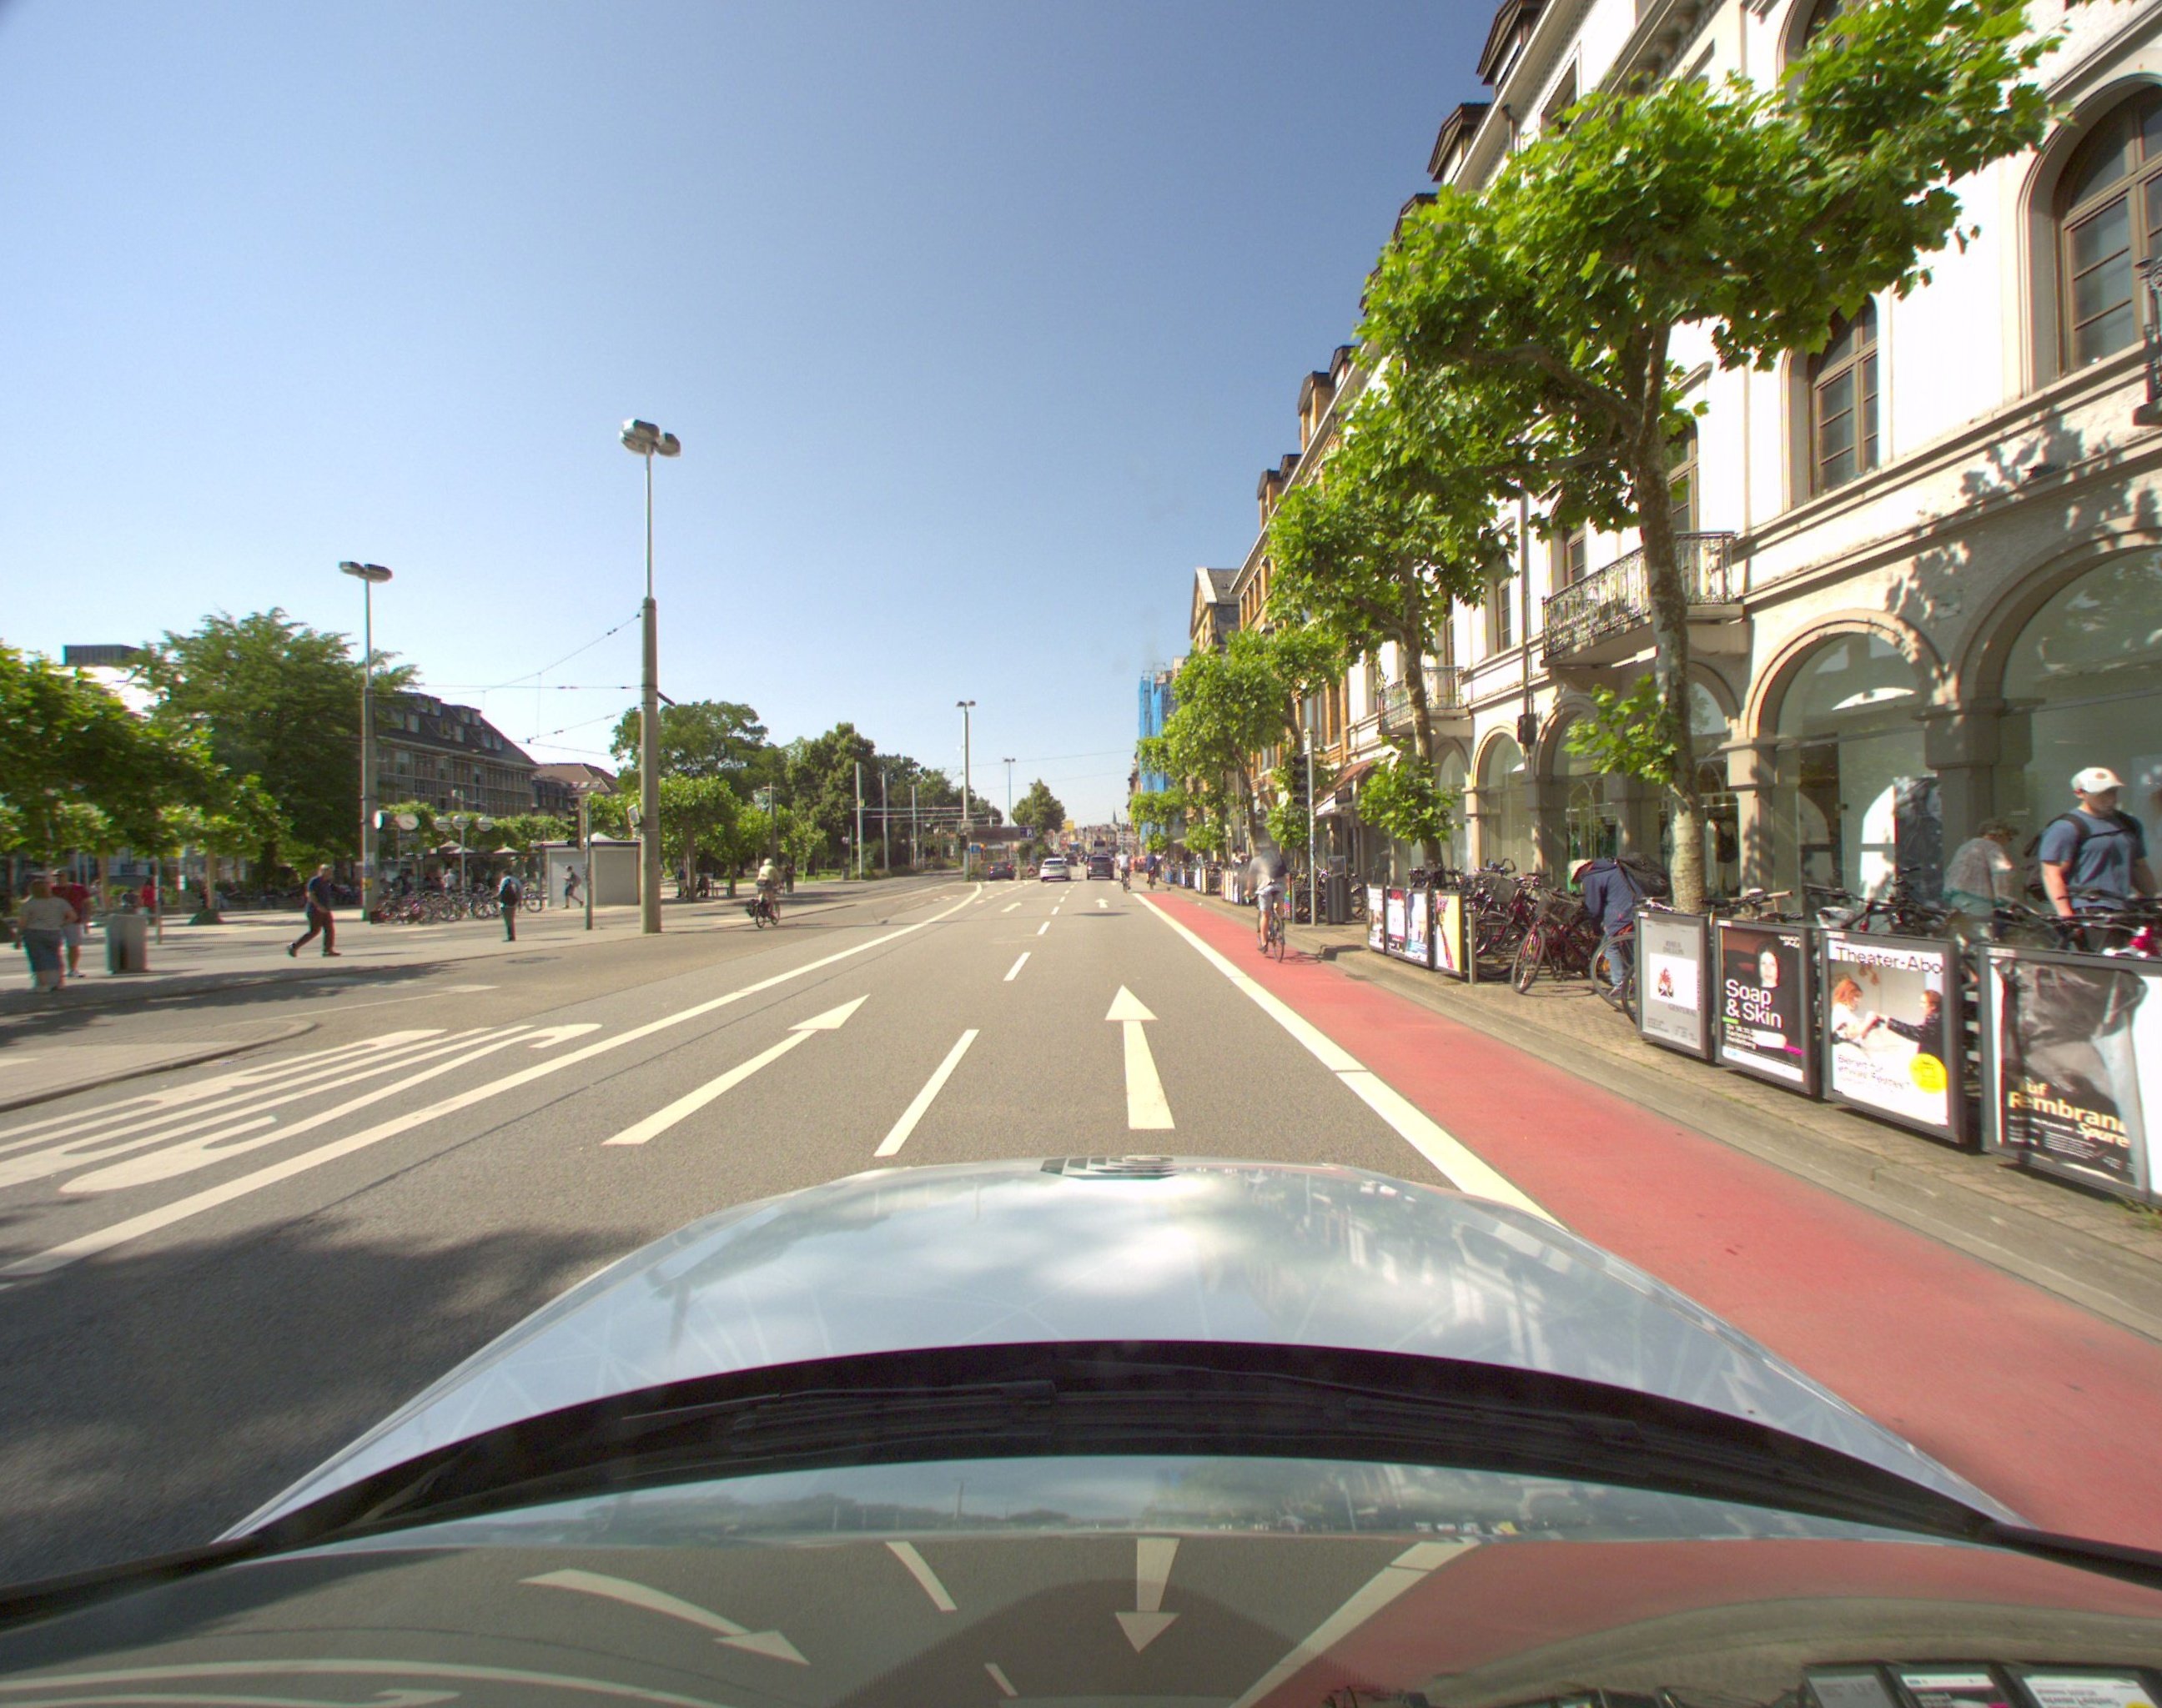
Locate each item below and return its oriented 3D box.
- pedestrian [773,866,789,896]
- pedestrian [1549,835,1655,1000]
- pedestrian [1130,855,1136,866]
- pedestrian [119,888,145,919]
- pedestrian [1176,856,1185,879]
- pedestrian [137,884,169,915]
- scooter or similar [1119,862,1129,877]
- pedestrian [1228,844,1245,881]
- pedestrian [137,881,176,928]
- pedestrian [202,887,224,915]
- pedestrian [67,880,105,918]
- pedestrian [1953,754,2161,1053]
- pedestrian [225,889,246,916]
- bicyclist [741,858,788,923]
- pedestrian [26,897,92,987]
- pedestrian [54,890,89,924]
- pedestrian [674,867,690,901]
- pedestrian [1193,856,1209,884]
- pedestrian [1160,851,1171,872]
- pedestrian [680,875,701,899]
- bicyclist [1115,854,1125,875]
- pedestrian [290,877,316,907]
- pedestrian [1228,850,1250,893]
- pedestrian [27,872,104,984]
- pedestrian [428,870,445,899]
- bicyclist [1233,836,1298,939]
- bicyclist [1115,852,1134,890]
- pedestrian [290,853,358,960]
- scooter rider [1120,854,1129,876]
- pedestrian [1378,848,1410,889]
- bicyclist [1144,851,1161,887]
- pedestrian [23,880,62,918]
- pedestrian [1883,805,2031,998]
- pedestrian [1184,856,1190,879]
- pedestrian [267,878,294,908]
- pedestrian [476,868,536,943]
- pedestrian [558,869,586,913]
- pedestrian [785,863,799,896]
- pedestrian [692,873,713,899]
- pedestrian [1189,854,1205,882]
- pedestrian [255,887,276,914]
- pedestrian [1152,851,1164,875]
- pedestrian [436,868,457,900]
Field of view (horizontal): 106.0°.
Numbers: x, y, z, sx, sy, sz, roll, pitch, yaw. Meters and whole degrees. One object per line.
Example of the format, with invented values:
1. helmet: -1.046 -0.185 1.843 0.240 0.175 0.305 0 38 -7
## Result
1. pedestrian: -16.345 1.457 44.391 0.521 1.609 0.628 -3 0 9
2. pedestrian: 5.069 0.598 7.951 0.603 1.538 0.666 1 -1 -1
3. pedestrian: 7.532 0.900 118.018 0.652 1.620 0.815 -2 0 -1
4. pedestrian: -41.097 2.150 35.270 0.514 1.263 0.454 -3 0 5
5. pedestrian: 7.230 0.993 59.135 0.495 1.683 0.538 -3 -1 10
6. pedestrian: -39.182 1.919 34.380 0.617 1.263 0.583 -3 0 9
7. scooter or similar: 3.501 1.277 65.923 0.686 1.167 1.463 1 -1 0
8. pedestrian: 7.566 0.410 39.572 0.665 1.781 0.986 -2 -1 5
9. pedestrian: -30.532 1.656 26.893 0.684 1.465 0.618 -4 0 -38
10. pedestrian: -40.313 2.179 37.833 0.513 1.263 0.455 -3 0 16
11. pedestrian: -41.061 1.844 33.613 0.620 1.465 0.681 -3 0 5
12. pedestrian: 6.742 0.320 5.587 0.699 1.902 0.776 1 -1 -2
13. pedestrian: -40.089 2.300 38.600 0.513 1.263 0.455 -3 0 16
14. bicyclist: -8.264 0.941 21.319 0.815 1.622 0.902 -2 0 0
15. pedestrian: -14.942 1.264 11.904 0.571 1.234 0.557 -2 -1 34
16. pedestrian: -40.083 2.091 32.349 0.617 1.263 0.583 -3 0 9
17. pedestrian: -19.563 1.470 39.942 0.577 1.609 0.598 -4 0 -29
18. pedestrian: 7.118 0.965 48.310 0.697 1.626 0.698 -2 -1 -17
19. pedestrian: 7.441 0.659 71.614 0.810 1.848 0.893 -3 -1 8
20. pedestrian: -20.279 1.722 42.310 0.674 1.171 0.751 -3 0 -6
21. bicyclist: 3.009 0.796 63.097 0.686 1.577 1.049 1 -1 -1
22. pedestrian: -39.055 1.927 40.873 0.619 1.465 0.683 -1 -1 13
23. pedestrian: 6.131 0.689 31.615 0.651 1.633 0.730 1 -1 -2
24. pedestrian: -16.729 1.203 13.420 0.617 1.745 0.685 -3 0 34
25. pedestrian: -38.637 1.825 48.822 0.546 1.748 0.627 -3 0 -22
26. bicyclist: 2.743 0.488 12.213 0.686 1.463 1.142 1 -1 -1
27. bicyclist: 1.844 0.704 34.665 0.686 1.577 1.049 1 -1 -1
28. pedestrian: -14.927 1.017 16.063 0.900 2.007 0.672 -3 0 -43
29. scooter rider: 3.525 0.886 65.965 0.686 1.729 0.778 1 -1 0
30. pedestrian: 9.559 0.436 24.882 0.719 1.252 0.595 0 -1 44
31. bicyclist: 3.234 0.684 36.969 0.686 1.616 0.918 1 -1 -1
32. pedestrian: -41.565 1.794 32.607 0.620 1.465 0.681 -3 0 5
33. pedestrian: 8.087 0.422 7.547 0.654 1.696 0.676 1 -1 2
34. pedestrian: 7.756 0.983 59.478 0.378 1.683 0.478 -2 -1 7
35. pedestrian: -39.546 1.915 40.238 0.619 1.465 0.683 -1 -1 13
36. pedestrian: -13.141 1.161 18.642 0.892 1.658 0.678 -1 -1 -9
37. pedestrian: -20.900 1.489 33.455 0.753 1.728 0.832 -4 0 -23
38. pedestrian: -15.737 1.373 44.284 0.528 1.733 0.582 -4 0 -30
39. pedestrian: -19.451 1.648 41.865 0.674 1.246 0.751 -3 0 -6
40. pedestrian: 6.986 0.827 49.031 0.600 1.626 0.640 -3 0 -17
41. pedestrian: -39.669 2.263 39.605 0.513 1.263 0.455 -3 0 16
42. pedestrian: 5.528 0.650 58.697 0.657 1.683 0.650 -1 -2 -15
43. pedestrian: -29.804 1.407 38.238 0.683 1.465 0.618 -4 0 -36
